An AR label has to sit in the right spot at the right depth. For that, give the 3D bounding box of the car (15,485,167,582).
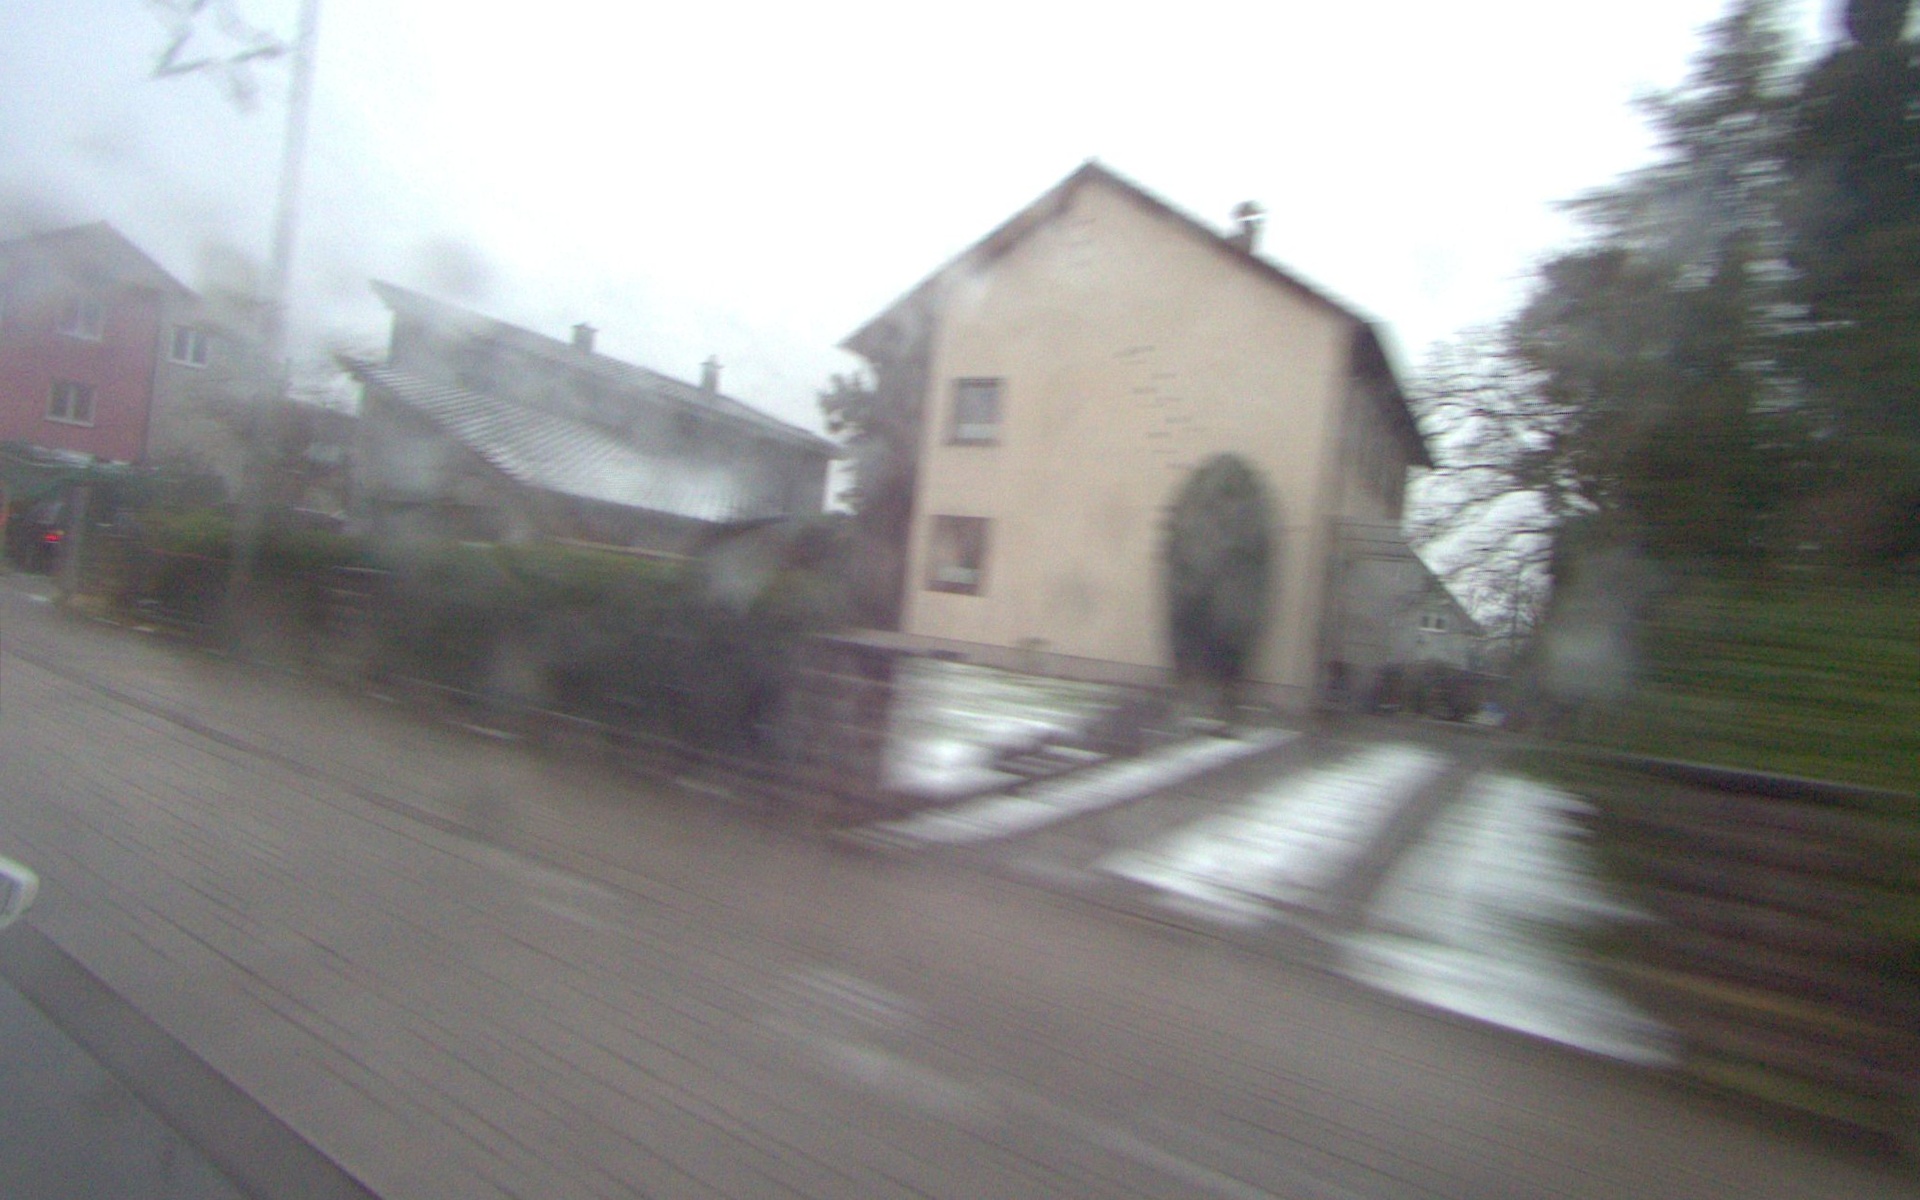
[{"bbox_3d":[-18.337,-1.445,21.158,4.279,1.602,1.965,7,-1,44],"label":"car"}]
